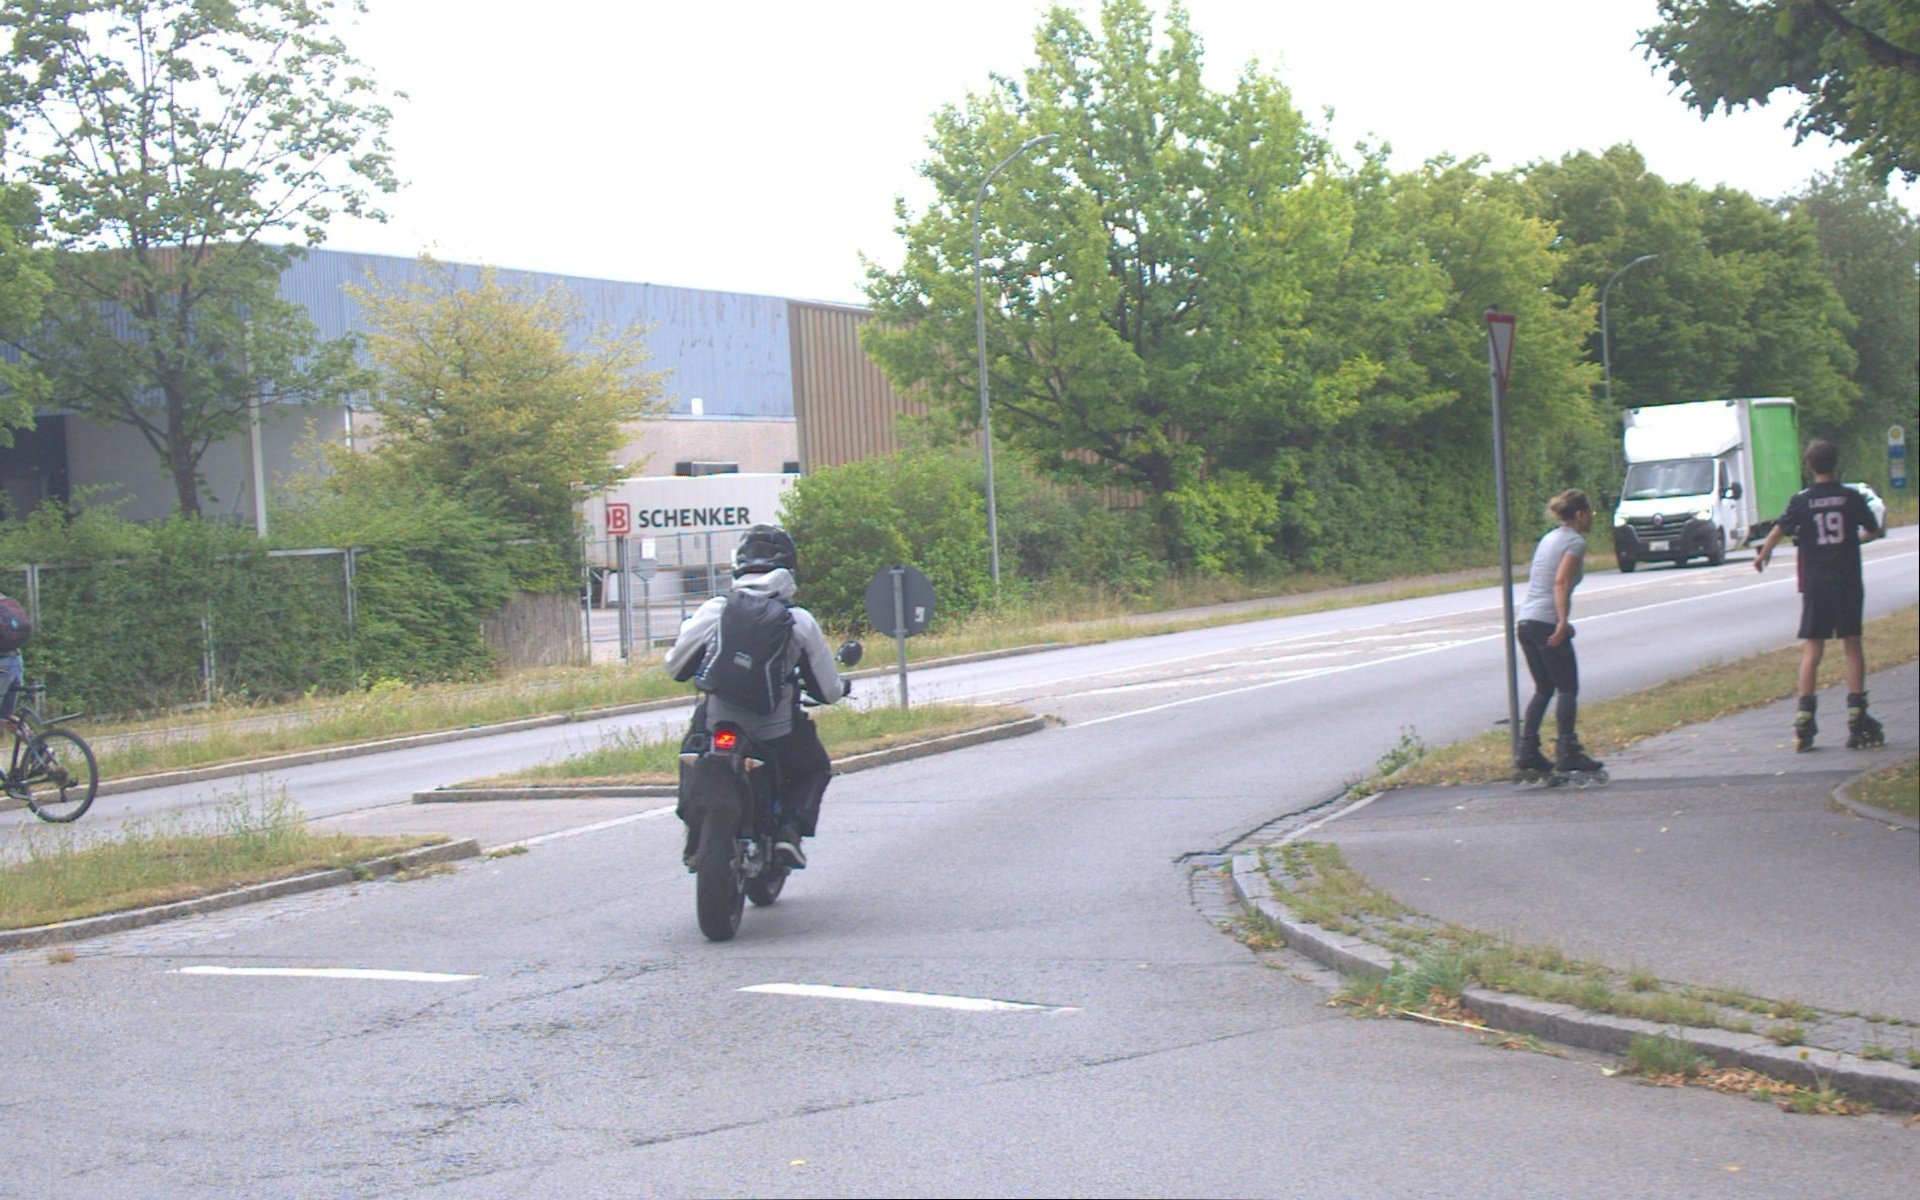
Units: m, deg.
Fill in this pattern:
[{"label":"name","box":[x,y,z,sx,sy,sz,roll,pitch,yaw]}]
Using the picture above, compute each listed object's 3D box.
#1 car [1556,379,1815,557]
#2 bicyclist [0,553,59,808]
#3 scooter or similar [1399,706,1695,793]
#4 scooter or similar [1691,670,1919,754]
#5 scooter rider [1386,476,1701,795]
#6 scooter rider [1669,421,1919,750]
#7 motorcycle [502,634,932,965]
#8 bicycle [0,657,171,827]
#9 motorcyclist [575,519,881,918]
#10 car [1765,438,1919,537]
[{"label":"car","box":[14.697,-2.688,69.116,3.175,3.193,7.623,-3,1,26]},{"label":"bicyclist","box":[-6.844,0.553,23.770,0.917,1.717,0.658,-1,1,27]},{"label":"scooter or similar","box":[3.337,0.843,19.578,1.224,0.363,1.100,-4,2,-33]},{"label":"scooter or similar","box":[5.316,0.687,21.268,1.224,0.379,1.126,-4,1,32]},{"label":"scooter rider","box":[3.314,0.187,19.563,1.241,1.666,1.100,-6,3,-33]},{"label":"scooter rider","box":[5.245,-0.096,21.264,1.224,1.903,1.126,-4,1,32]},{"label":"motorcycle","box":[-0.987,0.815,14.962,0.897,1.154,2.618,-3,2,18]},{"label":"bicycle","box":[-6.704,0.957,23.735,2.502,1.085,0.770,0,2,26]},{"label":"motorcyclist","box":[-0.991,0.491,14.975,0.862,1.618,1.190,-3,1,18]},{"label":"car","box":[21.893,-2.810,84.805,2.683,2.166,5.992,-3,1,25]}]
